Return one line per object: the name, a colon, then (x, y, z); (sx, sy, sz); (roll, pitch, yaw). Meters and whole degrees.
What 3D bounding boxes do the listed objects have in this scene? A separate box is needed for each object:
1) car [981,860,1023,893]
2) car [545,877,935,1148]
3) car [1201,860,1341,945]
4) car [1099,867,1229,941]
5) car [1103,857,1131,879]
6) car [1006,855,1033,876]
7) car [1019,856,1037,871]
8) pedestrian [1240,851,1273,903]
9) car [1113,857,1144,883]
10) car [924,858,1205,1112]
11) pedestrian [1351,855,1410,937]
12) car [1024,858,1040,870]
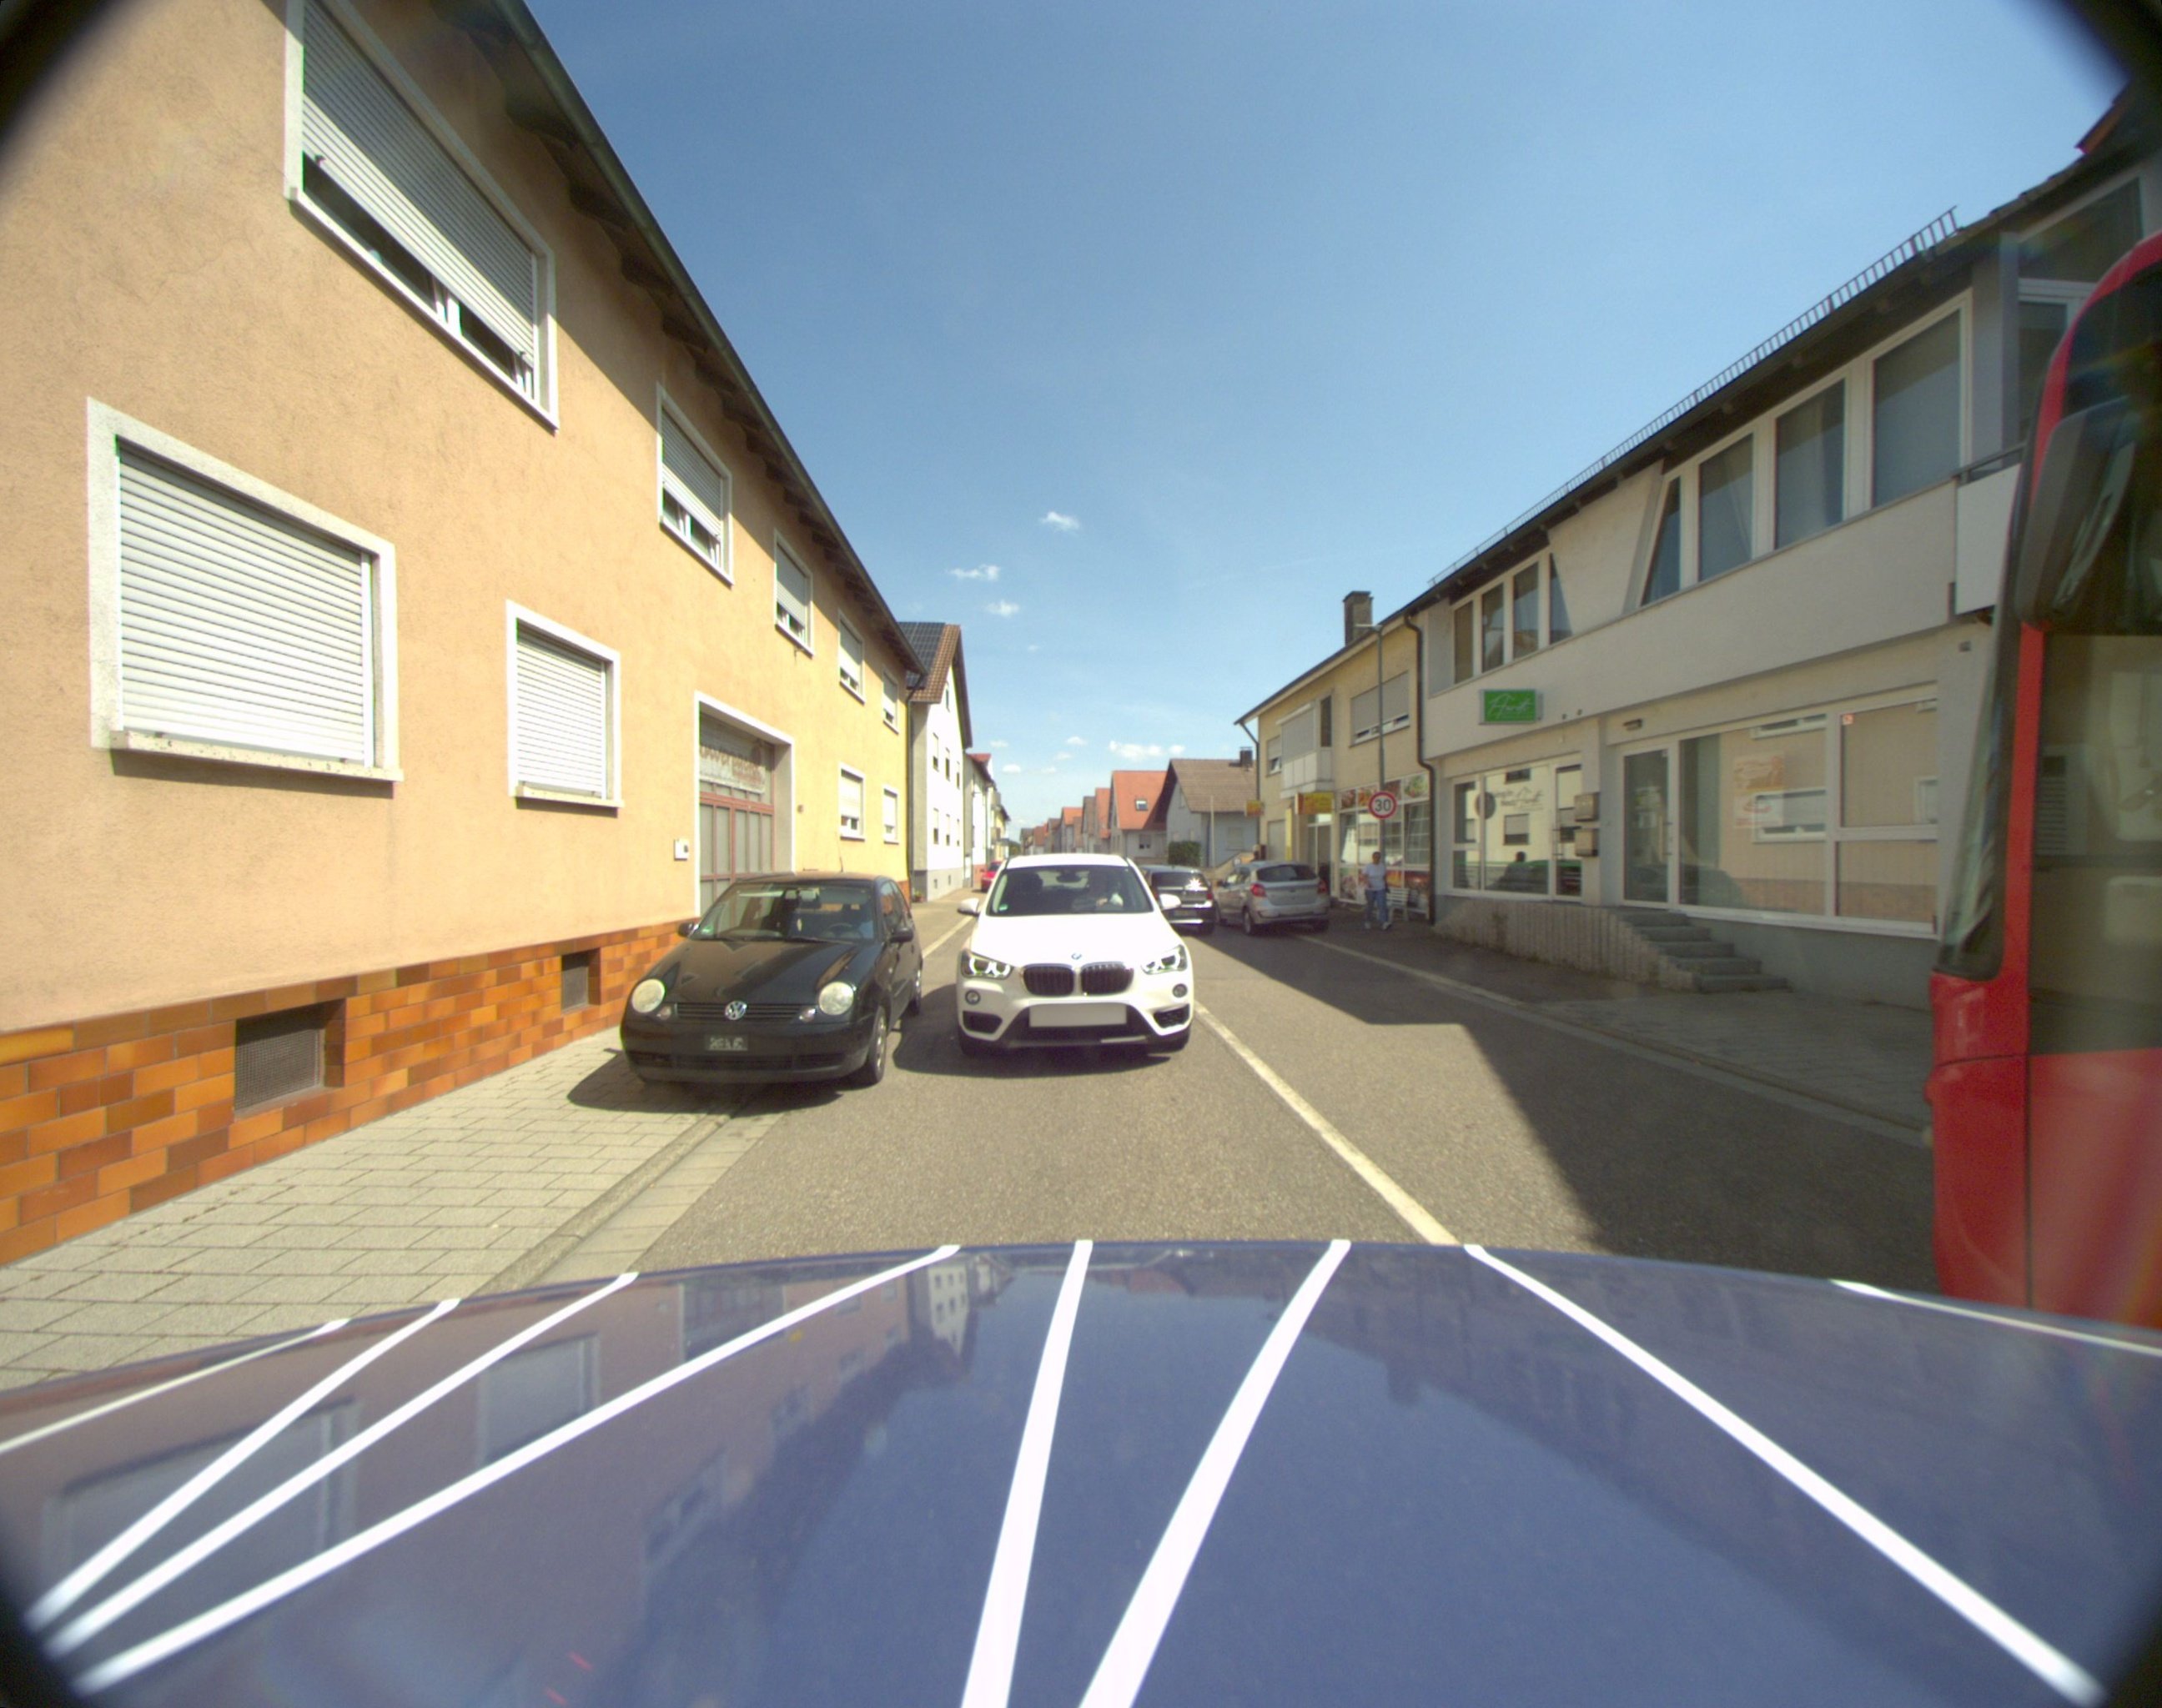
car: (-3.577, 0.978, 35.051); (1.765, 1.420, 4.188); (0, 0, -4)
car: (-2.303, 0.978, 6.203); (1.691, 1.454, 3.628); (2, 0, -4)
car: (4.069, 0.965, 16.942); (1.749, 1.507, 3.998); (-4, 1, -5)
car: (1.695, 1.026, 16.848); (1.766, 1.389, 3.866); (1, 0, -11)
car: (2.333, 0.892, 49.899); (1.442, 1.362, 3.383); (-3, 0, -4)
car: (-4.178, 0.762, 52.222); (1.765, 1.420, 4.188); (0, 0, -4)
car: (-5.252, 0.935, 75.638); (1.765, 1.420, 4.188); (0, 0, -4)
pedestrian: (5.556, 0.724, 24.042); (0.757, 1.574, 0.956); (-2, 1, -2)
car: (2.818, 0.933, 45.531); (1.458, 1.362, 3.383); (-3, 0, -2)
car: (-0.203, 0.895, 7.338); (1.845, 1.635, 4.373); (-2, 0, -3)
pedestrian: (6.045, 0.820, 15.385); (0.757, 1.574, 0.956); (-2, 1, -2)
car: (-6.094, 1.205, 94.247); (1.765, 1.420, 4.187); (0, 0, -6)
